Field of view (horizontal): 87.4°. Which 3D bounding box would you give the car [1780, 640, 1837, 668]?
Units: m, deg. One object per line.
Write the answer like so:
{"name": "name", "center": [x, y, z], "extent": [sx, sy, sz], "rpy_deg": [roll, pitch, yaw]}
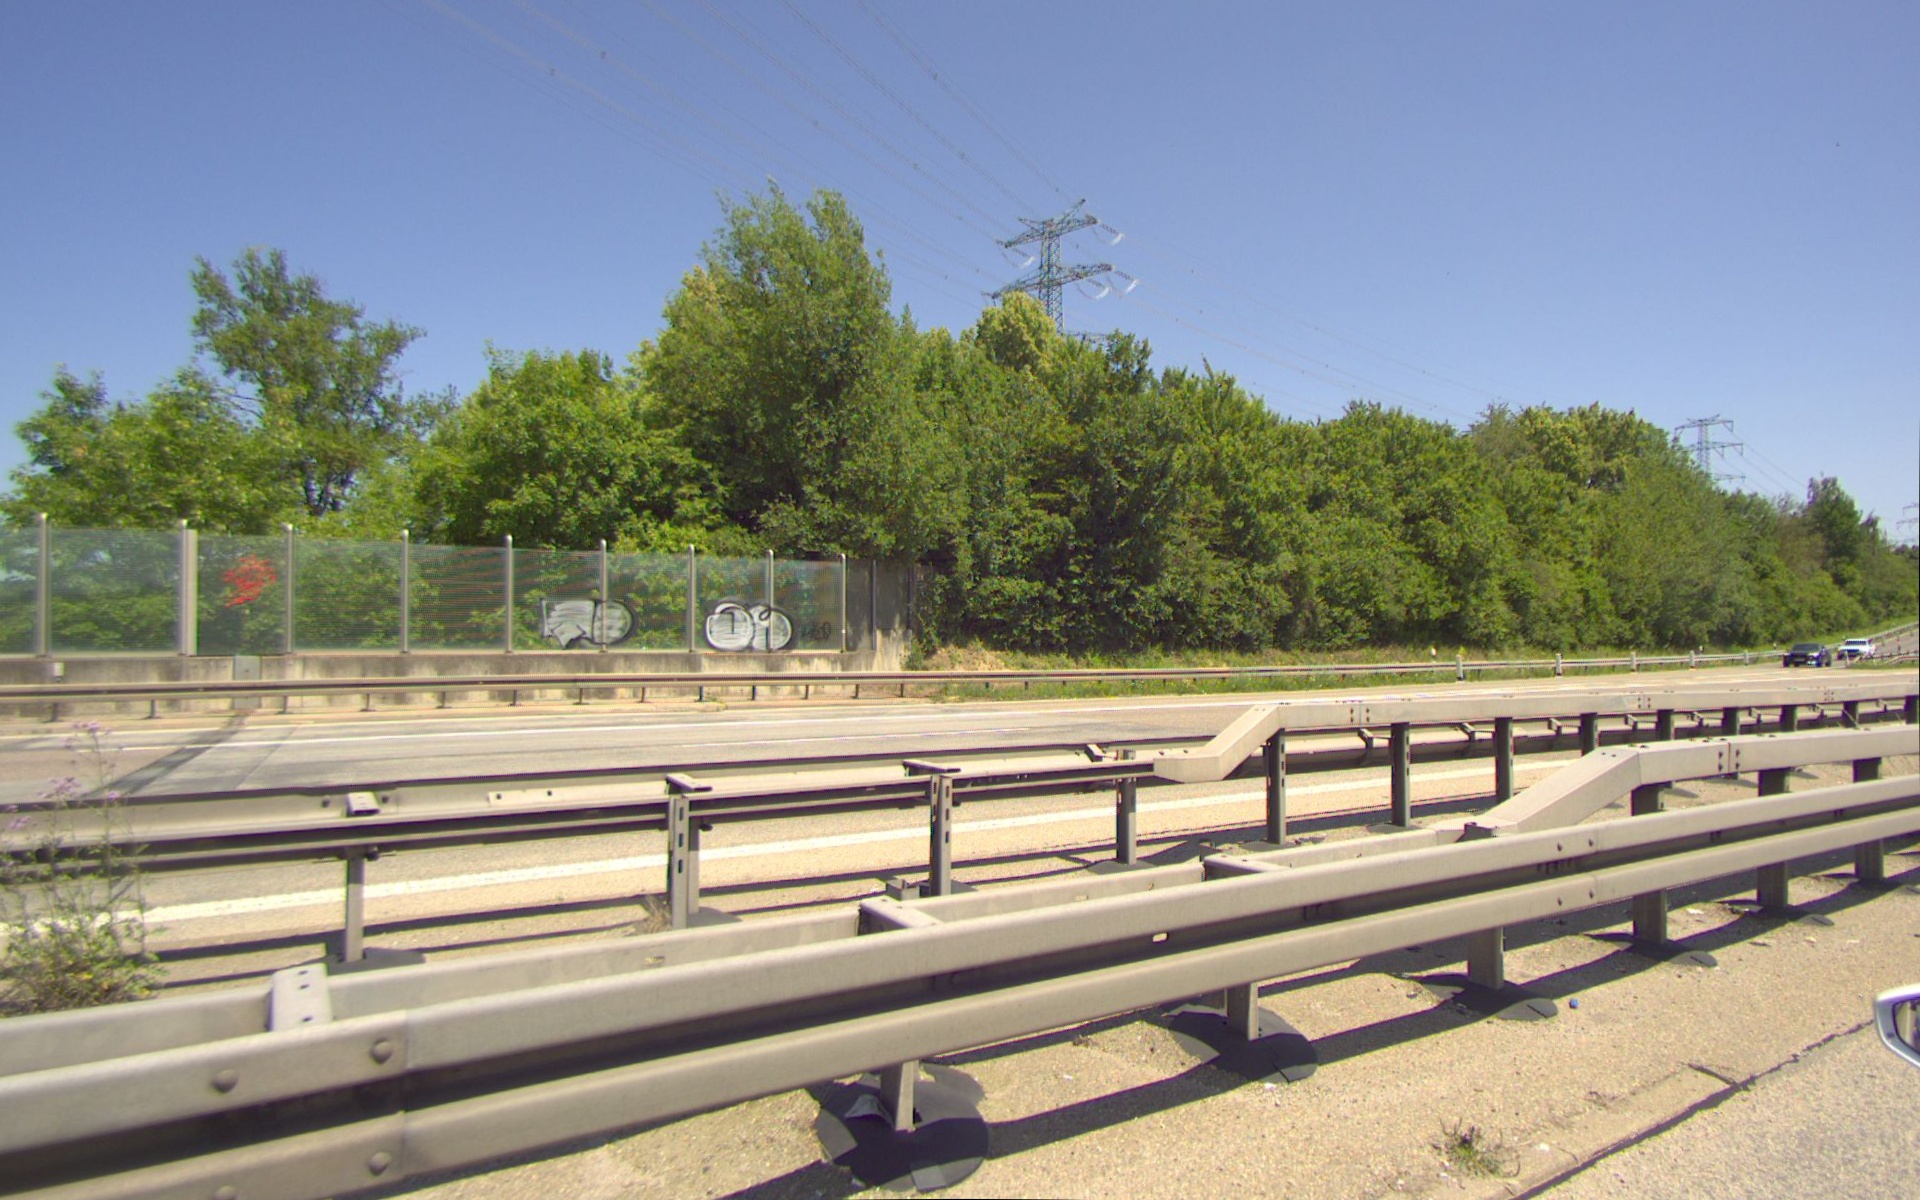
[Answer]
{"name": "car", "center": [53.204, 3.389, 62.965], "extent": [5.234, 1.597, 1.976], "rpy_deg": [2, -1, -41]}

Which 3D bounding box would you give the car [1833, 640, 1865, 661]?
{"name": "car", "center": [66.781, 3.778, 75.422], "extent": [1.667, 1.475, 4.321], "rpy_deg": [2, -1, 43]}
